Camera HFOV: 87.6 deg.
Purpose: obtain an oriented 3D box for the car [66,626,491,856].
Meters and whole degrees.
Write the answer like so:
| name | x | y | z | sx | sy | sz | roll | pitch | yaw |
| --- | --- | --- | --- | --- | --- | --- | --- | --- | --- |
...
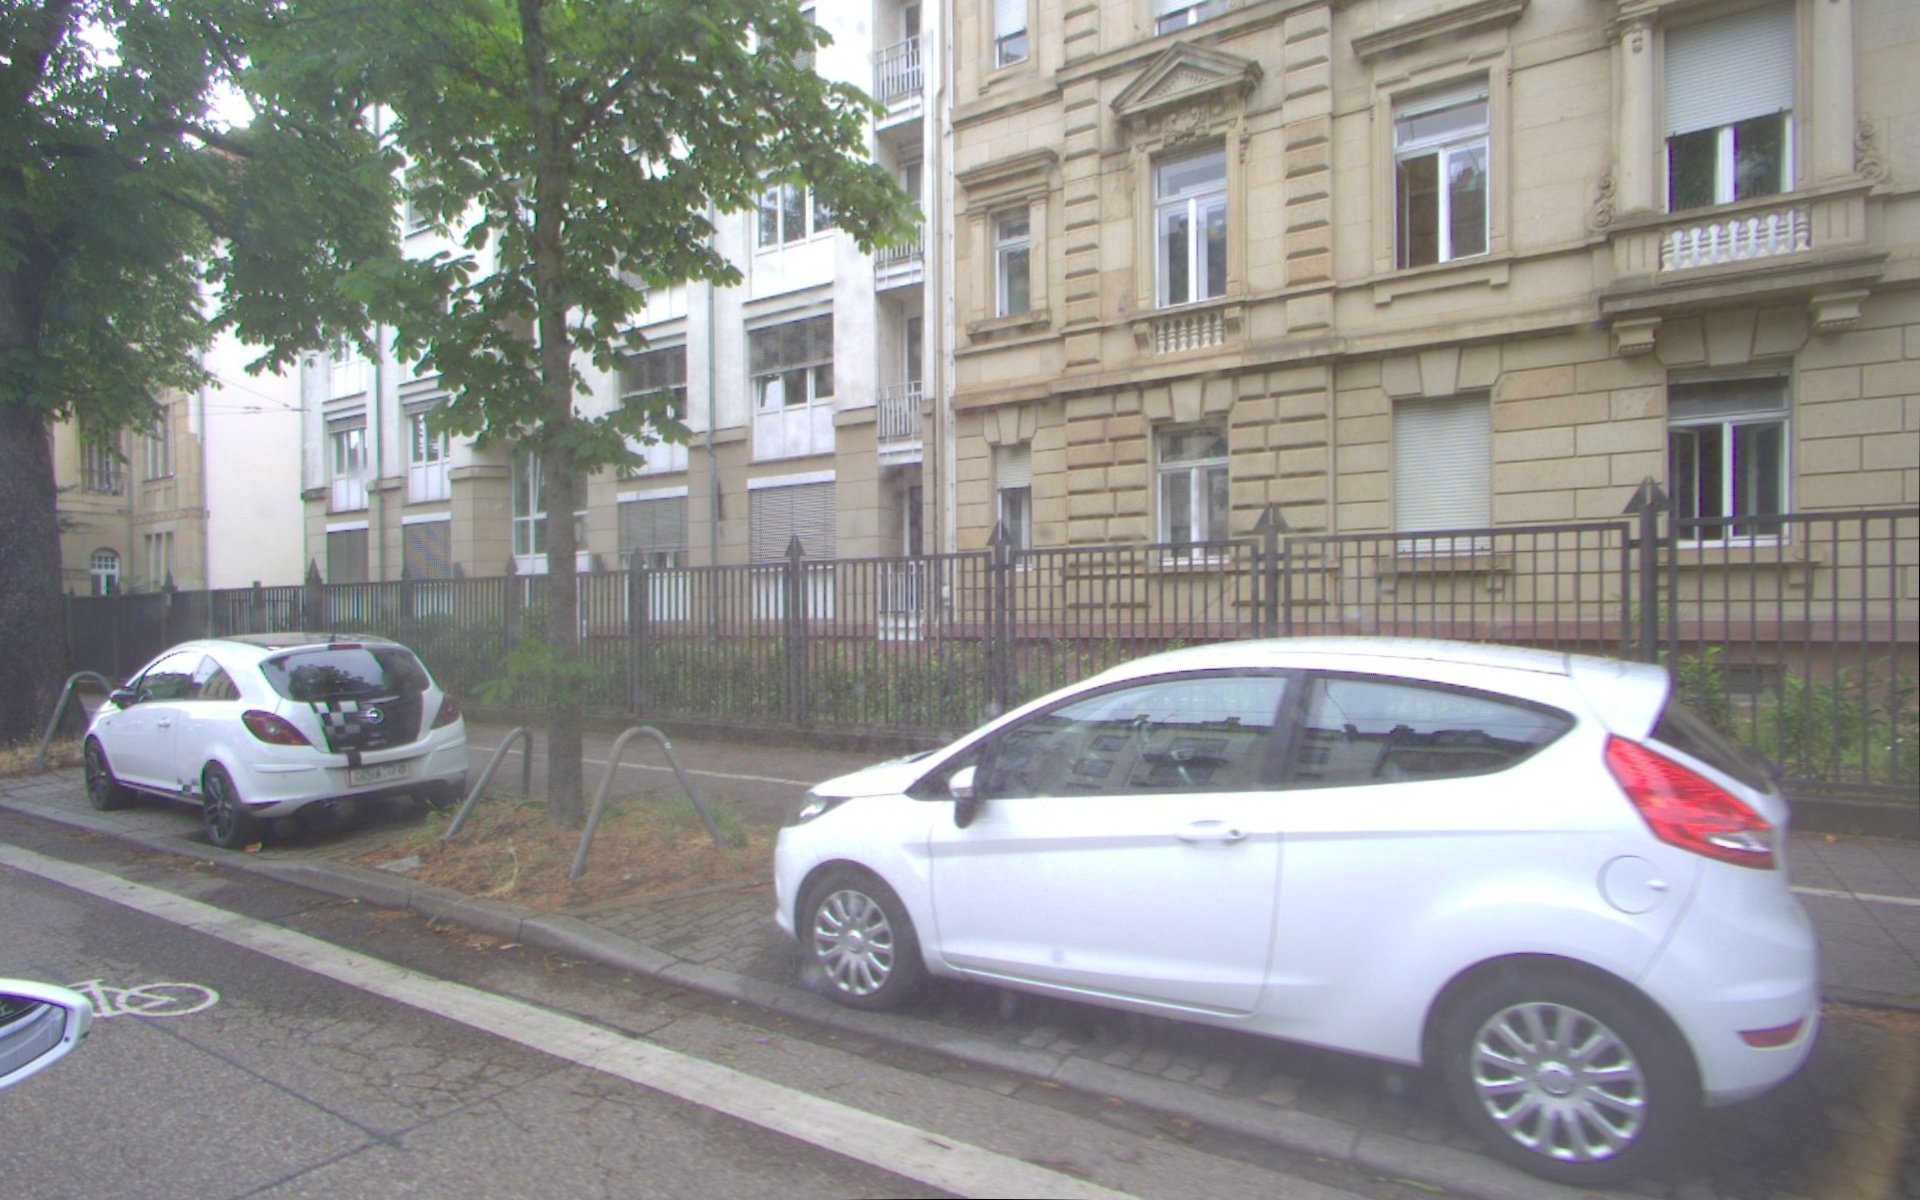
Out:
| name | x | y | z | sx | sy | sz | roll | pitch | yaw |
| --- | --- | --- | --- | --- | --- | --- | --- | --- | --- |
| car | -5.761 | 0.983 | 8.356 | 3.724 | 1.455 | 1.598 | -1 | 1 | 33 |

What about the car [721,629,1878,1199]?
| name | x | y | z | sx | sy | sz | roll | pitch | yaw |
| --- | --- | --- | --- | --- | --- | --- | --- | --- | --- |
| car | 0.980 | 0.886 | 4.005 | 3.711 | 1.455 | 1.623 | -1 | 1 | 32 |
